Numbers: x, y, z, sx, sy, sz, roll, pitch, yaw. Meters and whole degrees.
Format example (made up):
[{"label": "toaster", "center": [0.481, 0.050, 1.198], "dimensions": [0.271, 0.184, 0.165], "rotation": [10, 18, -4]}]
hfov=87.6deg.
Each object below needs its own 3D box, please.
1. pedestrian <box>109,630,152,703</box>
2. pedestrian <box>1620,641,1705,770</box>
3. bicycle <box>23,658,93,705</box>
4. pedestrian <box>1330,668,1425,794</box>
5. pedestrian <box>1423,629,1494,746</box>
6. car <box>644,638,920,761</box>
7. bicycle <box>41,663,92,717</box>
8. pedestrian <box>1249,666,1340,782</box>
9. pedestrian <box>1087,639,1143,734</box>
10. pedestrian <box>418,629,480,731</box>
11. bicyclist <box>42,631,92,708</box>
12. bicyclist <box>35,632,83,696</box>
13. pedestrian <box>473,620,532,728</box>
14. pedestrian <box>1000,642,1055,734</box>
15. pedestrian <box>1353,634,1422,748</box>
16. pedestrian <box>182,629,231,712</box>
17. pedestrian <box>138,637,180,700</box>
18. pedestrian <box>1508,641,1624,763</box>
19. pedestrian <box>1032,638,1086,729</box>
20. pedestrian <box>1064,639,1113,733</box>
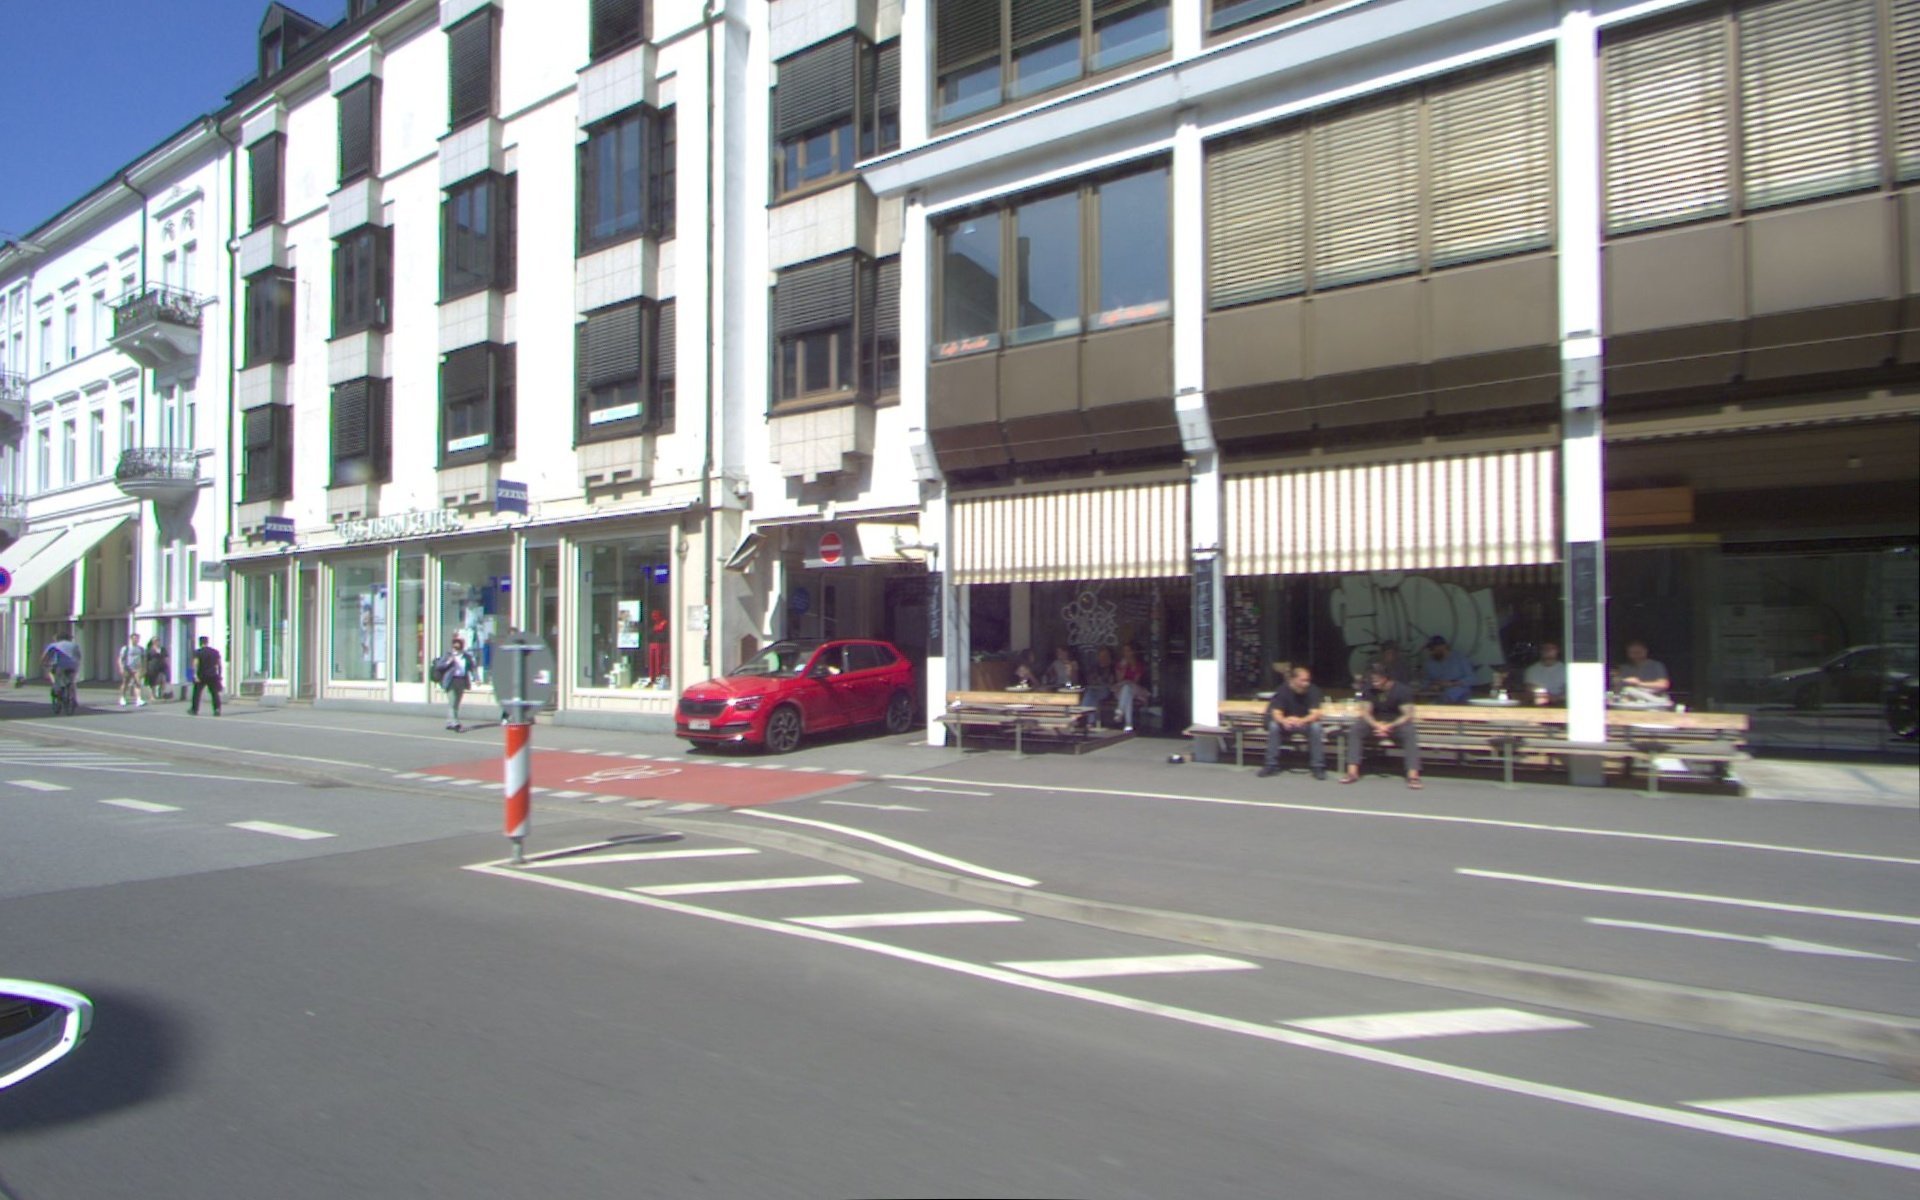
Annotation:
[{"label": "pedestrian", "center": [-20.940, 1.692, 25.272], "dimensions": [1.007, 1.800, 0.572], "rotation": [-3, -4, 36]}, {"label": "pedestrian", "center": [8.035, 1.195, 11.480], "dimensions": [0.687, 1.413, 0.710], "rotation": [-3, -4, 32]}, {"label": "bicycle", "center": [-22.410, 2.004, 24.860], "dimensions": [2.319, 1.112, 0.620], "rotation": [-2, -4, 31]}, {"label": "pedestrian", "center": [4.334, 1.334, 10.399], "dimensions": [0.689, 1.231, 0.708], "rotation": [-4, -4, 41]}, {"label": "pedestrian", "center": [6.286, 1.093, 12.611], "dimensions": [0.687, 1.413, 0.710], "rotation": [-3, -4, 32]}, {"label": "car", "center": [-2.525, 1.364, 15.089], "dimensions": [1.817, 1.514, 4.035], "rotation": [-2, -2, 34]}, {"label": "bicycle", "center": [-19.995, 1.998, 22.399], "dimensions": [1.780, 1.134, 0.592], "rotation": [-2, -3, 41]}, {"label": "pedestrian", "center": [3.641, 1.325, 10.886], "dimensions": [0.689, 1.187, 0.708], "rotation": [-4, -4, 41]}, {"label": "pedestrian", "center": [2.336, 1.283, 15.051], "dimensions": [0.529, 1.384, 0.876], "rotation": [-1, -3, 31]}, {"label": "pedestrian", "center": [-8.886, 1.374, 17.419], "dimensions": [0.826, 1.706, 0.691], "rotation": [-2, -3, 41]}, {"label": "bicyclist", "center": [-19.721, 1.524, 22.108], "dimensions": [0.826, 1.646, 0.691], "rotation": [-2, -3, 40]}, {"label": "bicyclist", "center": [-22.368, 1.581, 24.855], "dimensions": [0.857, 1.548, 0.620], "rotation": [-2, -4, 31]}, {"label": "pedestrian", "center": [-8.212, 1.328, 17.974], "dimensions": [0.826, 1.873, 0.691], "rotation": [-4, -4, 41]}, {"label": "pedestrian", "center": [1.034, 1.341, 15.414], "dimensions": [0.679, 1.384, 0.534], "rotation": [-2, -3, 33]}, {"label": "pedestrian", "center": [5.555, 1.167, 13.004], "dimensions": [0.687, 1.413, 0.812], "rotation": [-3, -4, 31]}, {"label": "pedestrian", "center": [-16.226, 1.516, 21.564], "dimensions": [0.825, 1.740, 0.619], "rotation": [-4, -4, 35]}, {"label": "pedestrian", "center": [-21.199, 1.805, 26.497], "dimensions": [0.811, 1.637, 0.644], "rotation": [-3, -4, 35]}, {"label": "pedestrian", "center": [7.231, 1.201, 11.980], "dimensions": [1.090, 1.367, 0.895], "rotation": [-3, -4, 32]}, {"label": "pedestrian", "center": [1.551, 1.291, 15.663], "dimensions": [0.576, 1.384, 0.743], "rotation": [-1, -3, 31]}, {"label": "pedestrian", "center": [1.970, 1.306, 15.330], "dimensions": [0.471, 1.384, 0.760], "rotation": [-1, -3, 31]}]
